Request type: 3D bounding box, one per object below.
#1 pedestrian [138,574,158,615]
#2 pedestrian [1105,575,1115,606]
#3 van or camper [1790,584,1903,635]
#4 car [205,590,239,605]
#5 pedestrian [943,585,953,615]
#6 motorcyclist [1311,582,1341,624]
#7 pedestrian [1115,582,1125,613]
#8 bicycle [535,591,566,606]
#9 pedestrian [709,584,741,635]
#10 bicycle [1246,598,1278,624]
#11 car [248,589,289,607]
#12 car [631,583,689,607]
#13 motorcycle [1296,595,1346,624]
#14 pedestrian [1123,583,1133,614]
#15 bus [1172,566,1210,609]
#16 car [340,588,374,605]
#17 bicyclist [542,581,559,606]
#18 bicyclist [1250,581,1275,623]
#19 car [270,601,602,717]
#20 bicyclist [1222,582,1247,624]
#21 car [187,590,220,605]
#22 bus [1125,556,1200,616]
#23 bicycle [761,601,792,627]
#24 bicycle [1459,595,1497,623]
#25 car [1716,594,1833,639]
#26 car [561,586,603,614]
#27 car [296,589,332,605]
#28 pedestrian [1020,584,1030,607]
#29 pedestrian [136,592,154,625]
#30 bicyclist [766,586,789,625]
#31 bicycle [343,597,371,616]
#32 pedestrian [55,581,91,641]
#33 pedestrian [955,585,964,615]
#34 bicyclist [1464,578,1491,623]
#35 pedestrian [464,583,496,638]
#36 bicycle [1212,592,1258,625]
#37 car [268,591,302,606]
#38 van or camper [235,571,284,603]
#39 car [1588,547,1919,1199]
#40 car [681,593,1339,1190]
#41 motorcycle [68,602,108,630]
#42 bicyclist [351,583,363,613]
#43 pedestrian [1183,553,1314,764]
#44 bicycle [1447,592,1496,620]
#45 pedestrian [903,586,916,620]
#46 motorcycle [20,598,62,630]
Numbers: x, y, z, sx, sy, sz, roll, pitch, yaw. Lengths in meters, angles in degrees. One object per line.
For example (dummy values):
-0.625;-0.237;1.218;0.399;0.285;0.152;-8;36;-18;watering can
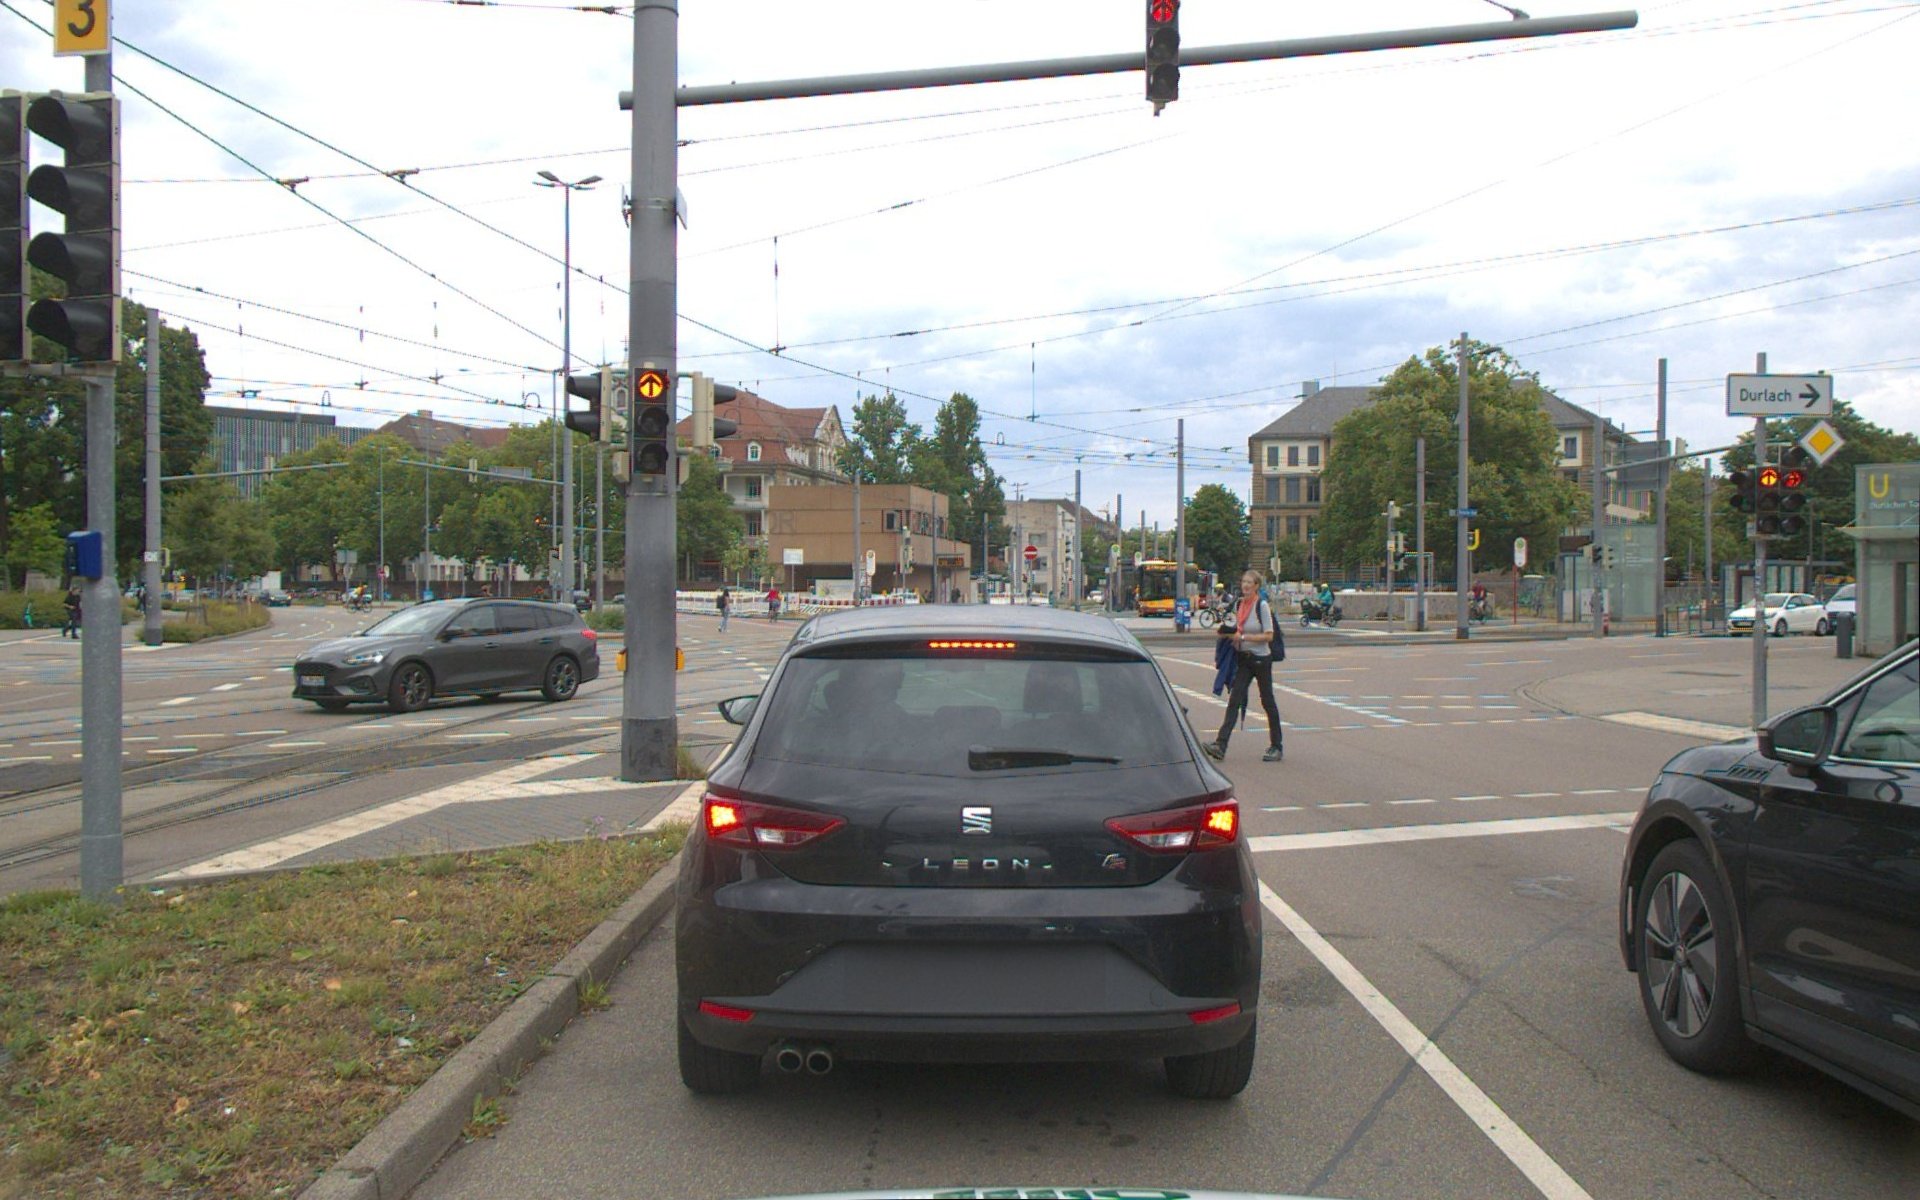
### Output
-40.835;-0.269;83.158;0.787;2.016;0.870;1;-1;-35;pedestrian
9.457;-0.583;104.423;0.608;1.951;0.699;0;0;9;pedestrian
32.152;0.353;59.942;4.257;1.772;1.974;0;-1;-36;van or camper
-75.285;-0.248;168.693;3.932;1.489;1.770;1;1;44;car
-0.802;-0.010;109.683;0.608;1.951;0.711;0;0;2;pedestrian
14.969;0.114;67.578;0.968;1.678;0.741;0;0;-34;motorcyclist
10.233;-0.160;105.820;0.608;1.951;0.711;0;0;2;pedestrian
-33.454;-0.111;135.126;0.921;1.199;2.726;0;0;28;bicycle
-9.026;0.361;63.594;0.687;1.968;1.026;0;0;38;pedestrian
13.566;0.489;74.358;0.849;1.124;2.299;0;0;-5;bicycle
-59.579;-0.188;142.447;3.930;1.489;1.770;0;0;43;car
-22.263;-0.382;122.797;3.905;1.713;2.000;0;-1;0;car
14.720;0.368;67.399;2.115;1.159;0.735;0;0;-34;motorcycle
10.657;-0.102;104.818;0.608;1.951;0.699;0;0;9;pedestrian
19.222;-1.028;137.064;2.597;3.340;11.004;0;0;10;bus
-55.512;-0.343;152.281;1.764;1.489;3.945;0;1;-38;car
-33.435;-0.537;135.136;0.919;2.049;0.977;0;0;28;bicyclist
13.573;0.099;74.264;0.854;1.884;1.046;0;0;-6;bicyclist
-7.144;0.740;23.002;1.663;1.420;4.381;0;0;32;car
11.158;0.124;67.224;0.838;1.702;0.653;0;0;-10;bicyclist
-80.624;-0.291;176.296;3.927;1.489;1.772;1;1;41;car
11.606;-0.785;93.738;2.897;3.178;11.548;0;0;14;bus
-8.586;0.653;77.304;0.879;1.199;2.287;0;0;-22;bicycle
22.449;0.382;71.658;0.764;1.205;2.019;0;0;43;bicycle
27.542;0.559;55.901;3.948;1.490;1.756;0;-1;-32;car
-23.896;0.007;104.508;1.966;1.713;3.973;0;-1;-22;car
-62.886;-0.253;160.886;3.931;1.489;1.770;1;1;43;car
5.665;-0.390;143.774;0.609;1.952;0.710;-1;-1;25;pedestrian
-50.230;0.533;101.967;0.865;2.016;0.791;0;-1;-19;pedestrian
-8.490;0.251;77.058;0.870;1.762;0.888;0;0;-22;bicyclist
-40.897;0.455;112.248;0.427;1.258;1.817;-1;-1;42;bicycle
-30.733;0.366;57.321;1.006;2.049;0.841;0;0;-20;pedestrian
-0.037;0.005;109.605;0.608;1.951;0.711;0;0;2;pedestrian
22.419;0.028;71.637;0.764;1.931;0.990;0;0;43;bicyclist
-17.349;0.372;59.743;1.015;1.968;0.695;0;0;-26;pedestrian
11.174;0.345;67.226;1.699;1.345;0.644;0;0;-11;bicycle
-67.453;-0.161;165.204;3.932;1.489;1.770;1;1;44;car
-69.176;-1.276;163.323;5.403;3.178;2.382;0;0;41;van or camper
3.261;0.686;3.876;1.741;1.625;4.508;0;0;-2;car
-0.009;0.721;6.088;1.671;1.474;3.808;0;0;-5;car
-36.938;0.676;70.070;0.499;1.130;1.746;0;0;12;motorcycle
-40.908;-0.115;112.239;0.505;2.049;0.586;-1;-2;42;bicyclist
2.775;0.544;15.868;1.096;1.940;0.724;1;-1;-43;pedestrian
25.569;0.297;82.740;2.214;1.354;0.707;0;-1;6;bicycle
-2.941;0.188;96.632;0.693;1.951;0.624;0;0;7;pedestrian
-37.857;0.578;68.128;0.503;1.290;1.463;0;0;43;motorcycle
